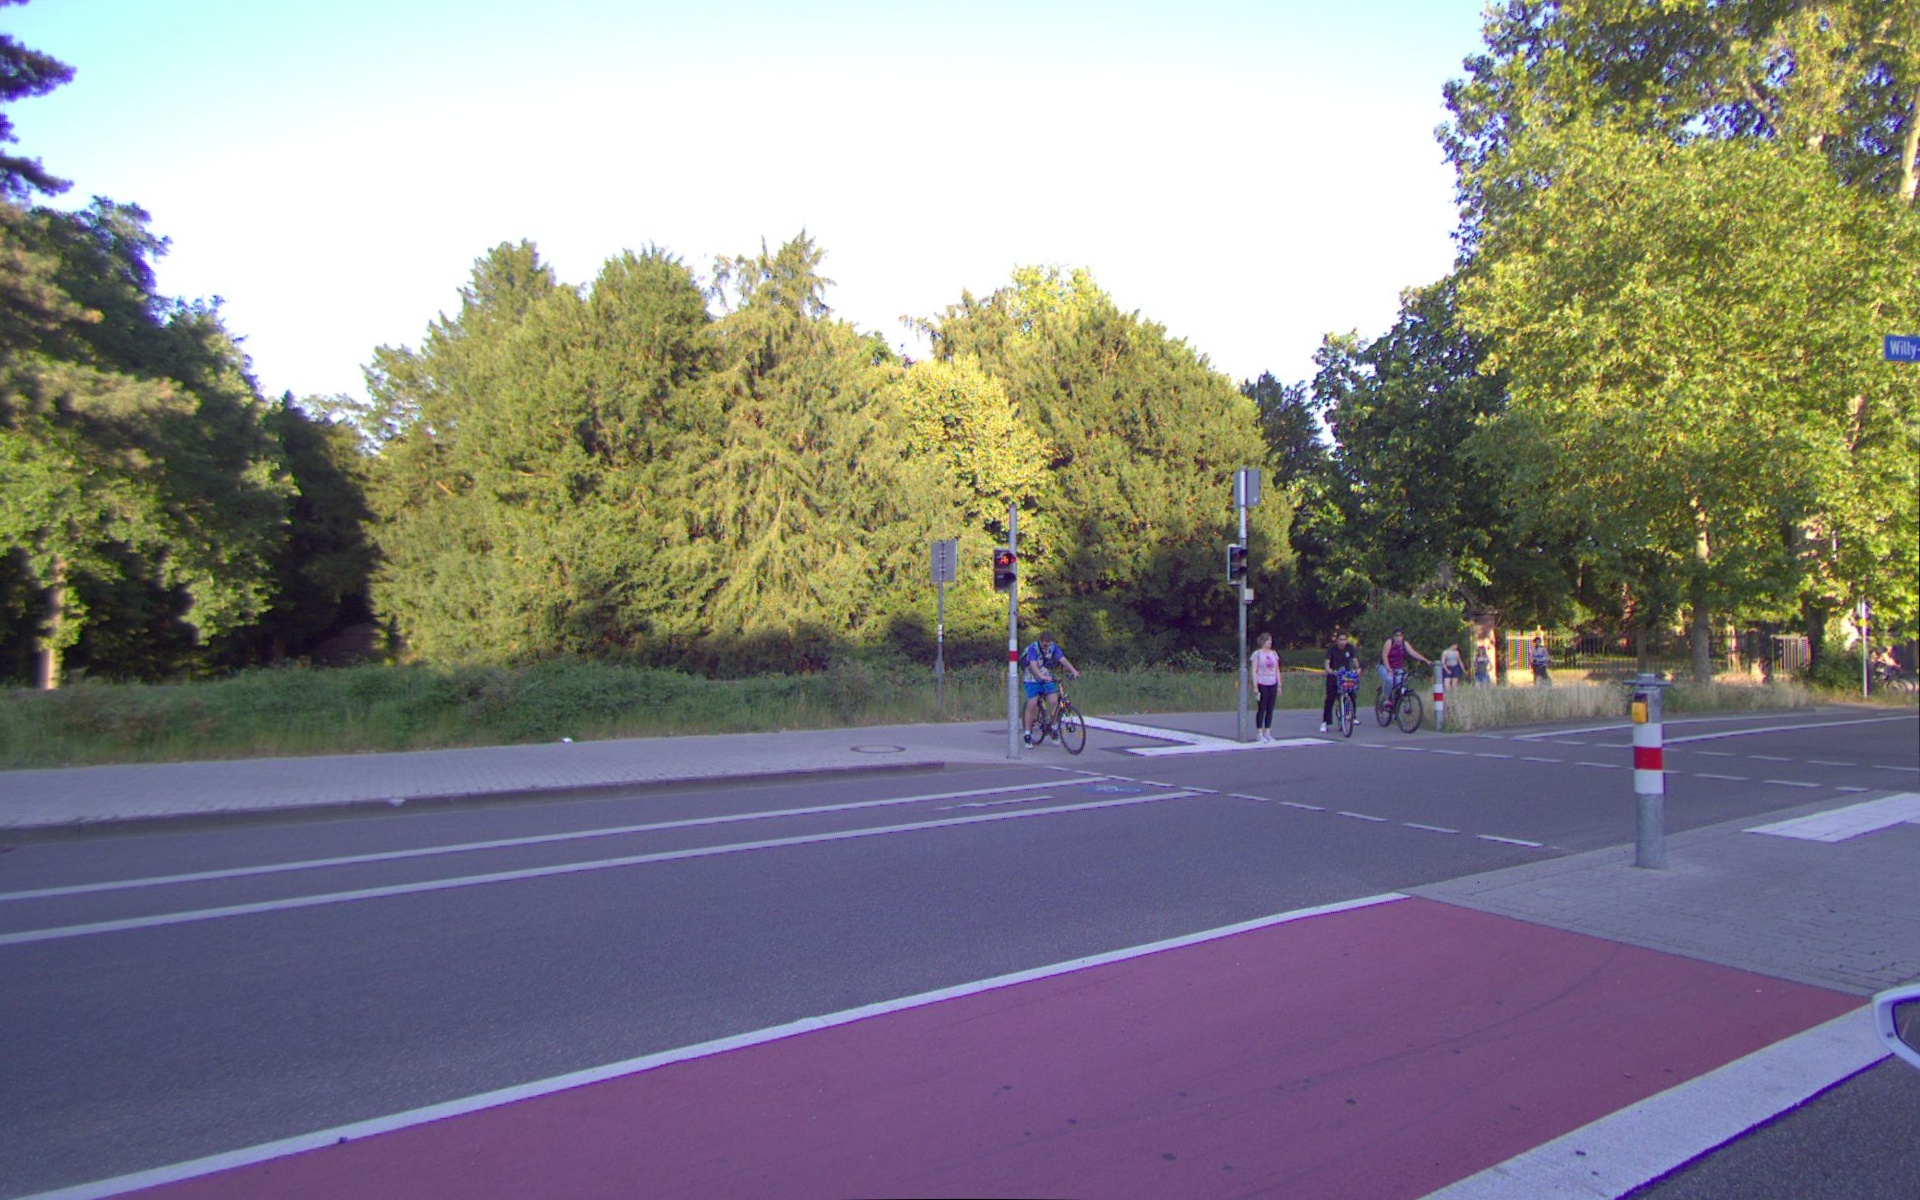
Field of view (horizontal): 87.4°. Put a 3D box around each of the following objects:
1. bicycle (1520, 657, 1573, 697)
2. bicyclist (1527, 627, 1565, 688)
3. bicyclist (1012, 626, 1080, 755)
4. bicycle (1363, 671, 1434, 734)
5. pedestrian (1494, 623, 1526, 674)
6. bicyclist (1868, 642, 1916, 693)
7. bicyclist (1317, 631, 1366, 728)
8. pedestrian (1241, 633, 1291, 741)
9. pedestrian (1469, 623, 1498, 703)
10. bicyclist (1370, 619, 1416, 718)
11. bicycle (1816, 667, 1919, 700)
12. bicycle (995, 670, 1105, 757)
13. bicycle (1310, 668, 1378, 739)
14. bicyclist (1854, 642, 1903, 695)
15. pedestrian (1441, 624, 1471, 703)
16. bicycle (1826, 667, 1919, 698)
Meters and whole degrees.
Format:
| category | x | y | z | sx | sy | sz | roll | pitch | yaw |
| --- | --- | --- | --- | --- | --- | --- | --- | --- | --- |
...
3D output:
| category | x | y | z | sx | sy | sz | roll | pitch | yaw |
| --- | --- | --- | --- | --- | --- | --- | --- | --- | --- |
| bicycle | 17.194 | 2.235 | 29.504 | 0.727 | 1.046 | 2.299 | 1 | -1 | 14 |
| bicyclist | 17.247 | 1.681 | 29.577 | 0.742 | 1.751 | 0.945 | 1 | -1 | 14 |
| bicyclist | 1.277 | 1.316 | 14.969 | 0.729 | 1.848 | 0.705 | 1 | -1 | -34 |
| bicycle | 8.023 | 1.847 | 18.451 | 0.568 | 1.043 | 1.772 | 0 | -2 | 1 |
| pedestrian | 22.508 | 1.983 | 41.100 | 1.067 | 2.040 | 0.755 | 1 | -1 | -36 |
| bicyclist | 30.731 | 2.213 | 33.121 | 0.743 | 1.652 | 0.954 | 1 | -2 | -29 |
| bicyclist | 6.681 | 1.378 | 17.607 | 0.618 | 1.671 | 0.640 | 0 | -2 | 1 |
| pedestrian | 4.989 | 1.408 | 16.395 | 0.492 | 1.718 | 0.604 | 1 | -2 | -28 |
| pedestrian | 13.722 | 1.637 | 26.326 | 0.584 | 2.040 | 0.642 | 0 | -1 | 20 |
| bicyclist | 8.037 | 1.261 | 18.653 | 0.564 | 1.803 | 0.640 | 0 | -2 | 1 |
| bicycle | 29.219 | 2.674 | 32.335 | 0.765 | 0.936 | 2.420 | 1 | -2 | -29 |
| bicycle | 1.283 | 1.624 | 14.862 | 0.761 | 1.115 | 2.112 | 1 | -2 | -21 |
| bicycle | 6.677 | 1.780 | 17.543 | 0.620 | 1.126 | 1.569 | 0 | -2 | 1 |
| bicyclist | 29.342 | 2.170 | 32.087 | 0.743 | 1.652 | 0.954 | 1 | -2 | -29 |
| pedestrian | 13.116 | 1.671 | 26.566 | 0.638 | 2.040 | 0.606 | 0 | -1 | 22 |
| bicycle | 30.514 | 2.722 | 33.466 | 0.765 | 0.936 | 2.420 | 1 | -2 | -29 |
